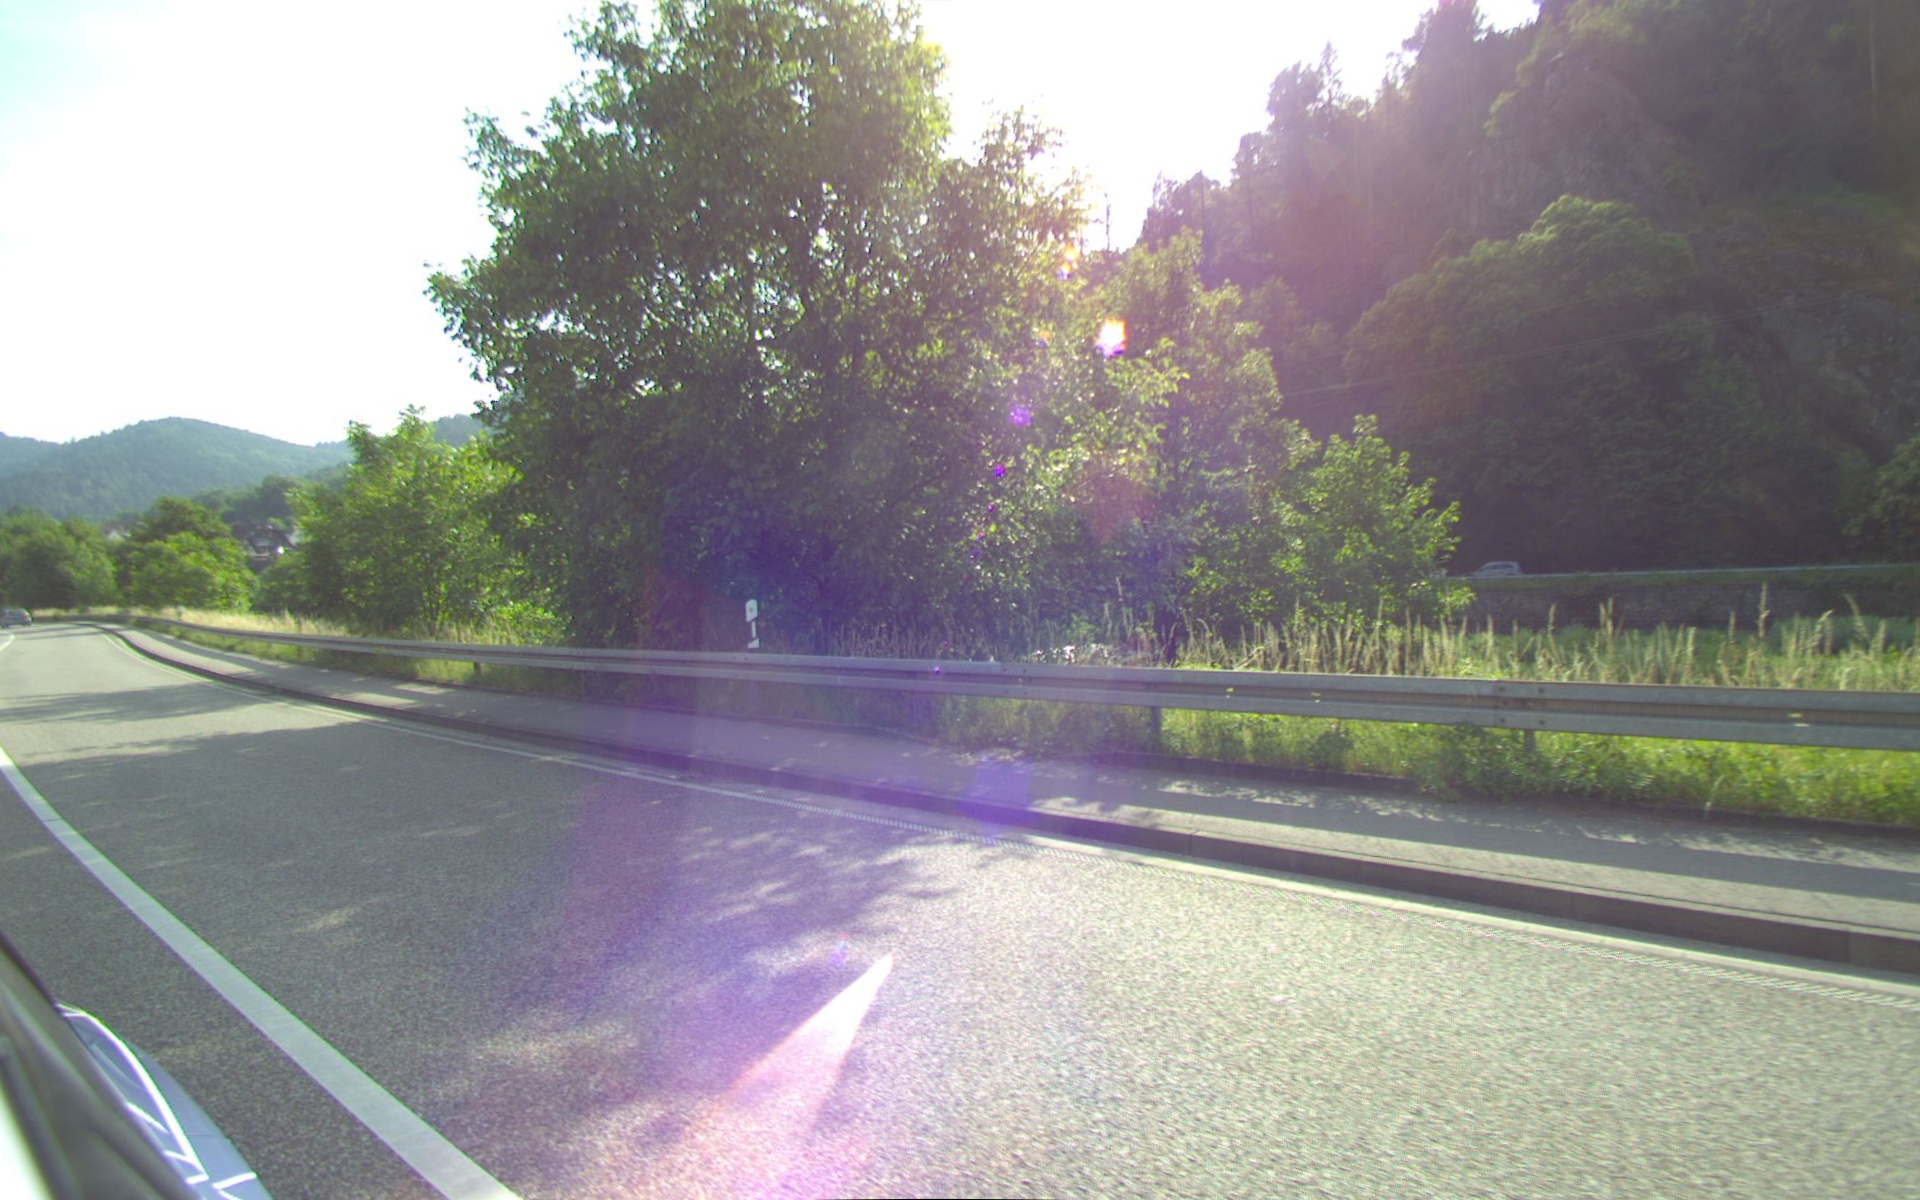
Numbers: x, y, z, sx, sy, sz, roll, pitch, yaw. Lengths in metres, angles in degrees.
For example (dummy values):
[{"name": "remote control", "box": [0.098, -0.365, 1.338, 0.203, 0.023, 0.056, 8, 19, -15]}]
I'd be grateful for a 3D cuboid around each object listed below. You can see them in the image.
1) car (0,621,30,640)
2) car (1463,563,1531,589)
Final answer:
[{"name": "car", "box": [-79.324, 2.551, 84.841, 3.998, 1.490, 1.561, -2, 0, 41]}, {"name": "car", "box": [38.951, -1.719, 73.453, 3.999, 1.678, 1.851, -1, 4, 42]}]
